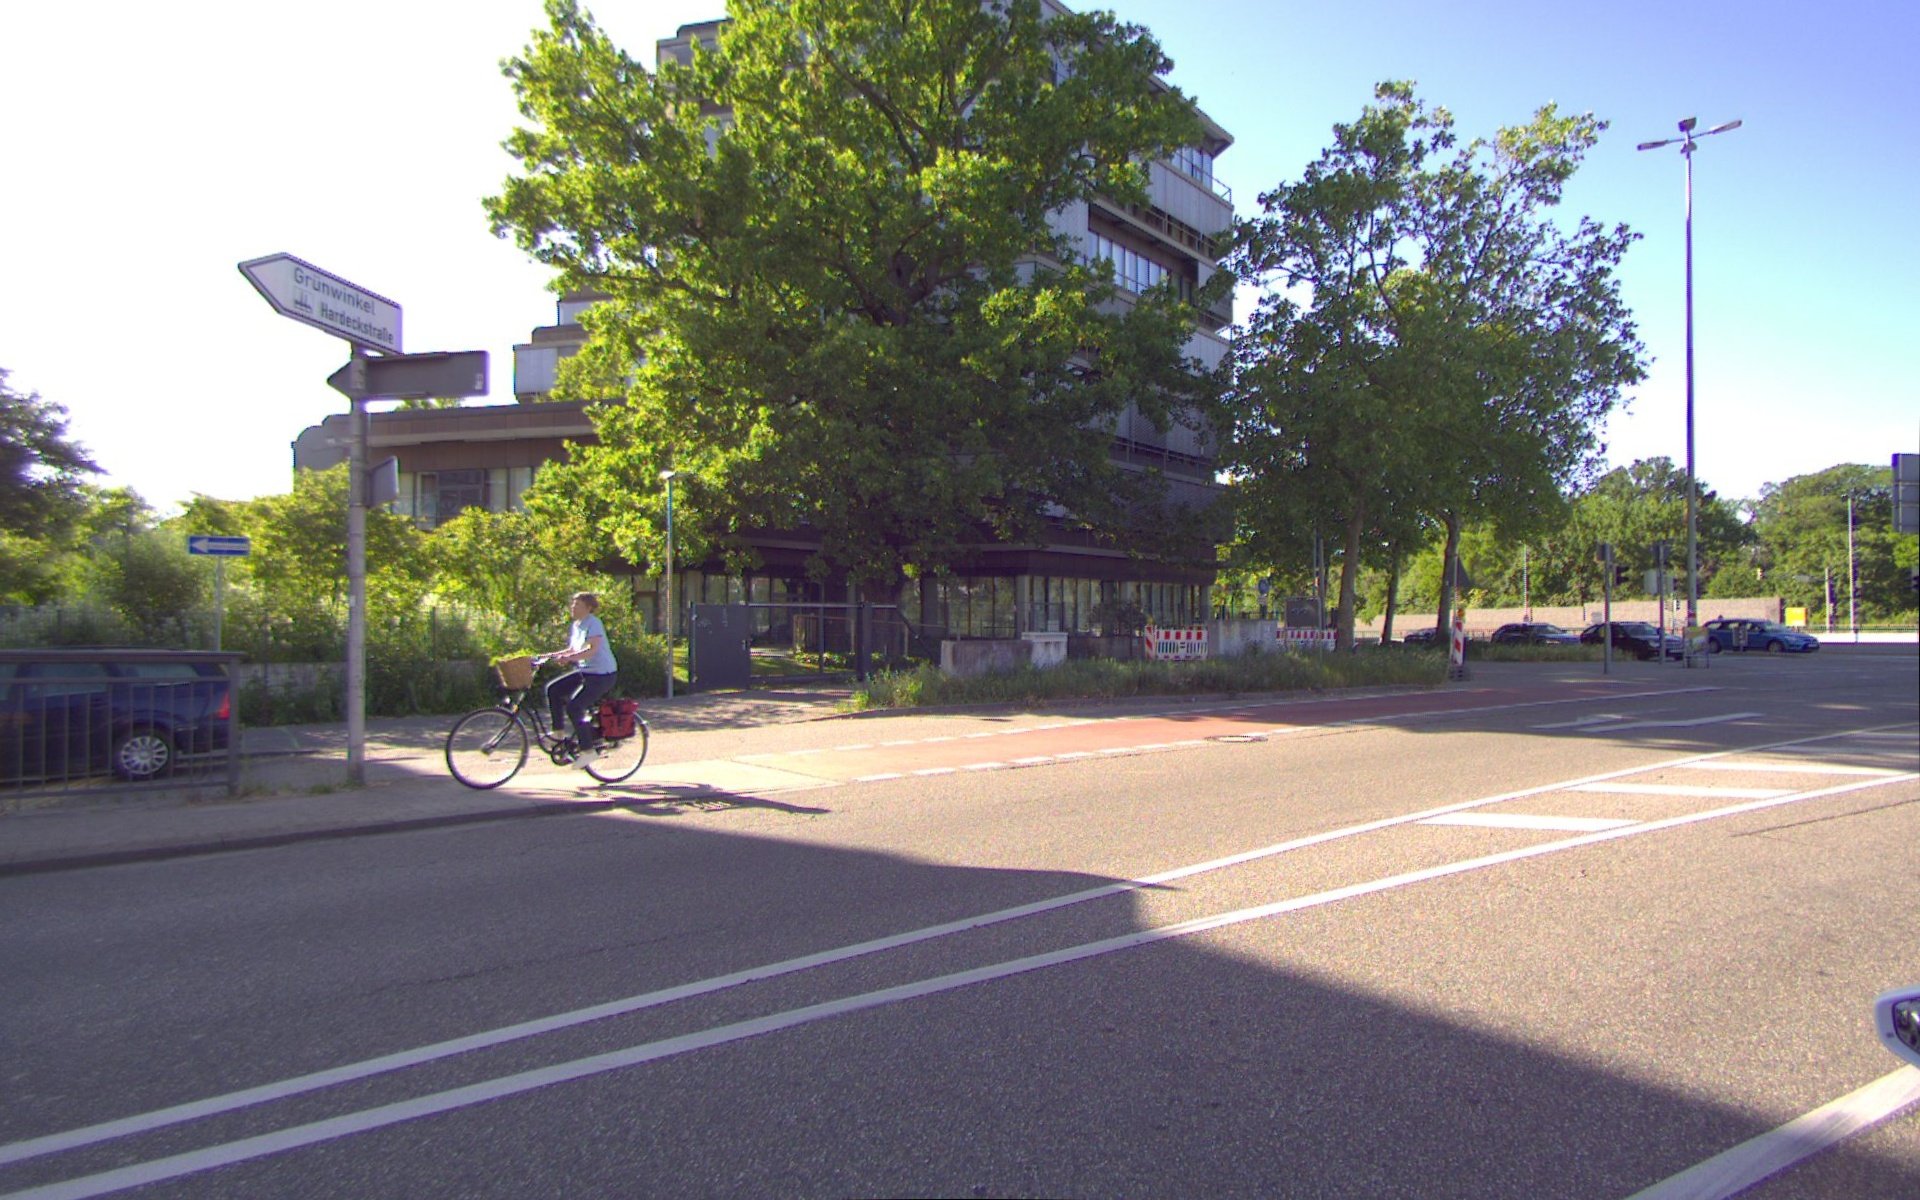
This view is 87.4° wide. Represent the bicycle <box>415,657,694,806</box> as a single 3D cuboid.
[{"bbox_3d":[-3.709,1.166,9.391,2.312,1.218,0.680,4,-4,-45],"label":"bicycle"}]

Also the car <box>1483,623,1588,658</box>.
[{"bbox_3d":[25.860,1.807,45.292,1.792,1.457,4.446,0,-2,-7],"label":"car"}]

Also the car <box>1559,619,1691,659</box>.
[{"bbox_3d":[25.570,1.480,38.810,1.792,1.457,4.446,0,-2,-7],"label":"car"}]

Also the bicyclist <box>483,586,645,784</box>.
[{"bbox_3d":[-3.696,0.778,9.411,1.190,1.723,0.680,4,-4,-44],"label":"bicyclist"}]

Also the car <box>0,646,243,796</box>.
[{"bbox_3d":[-10.769,1.322,11.241,4.411,1.523,1.806,1,-2,-38],"label":"car"}]

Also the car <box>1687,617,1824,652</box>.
[{"bbox_3d":[34.242,1.477,43.406,1.796,1.457,4.437,0,-2,-15],"label":"car"}]
